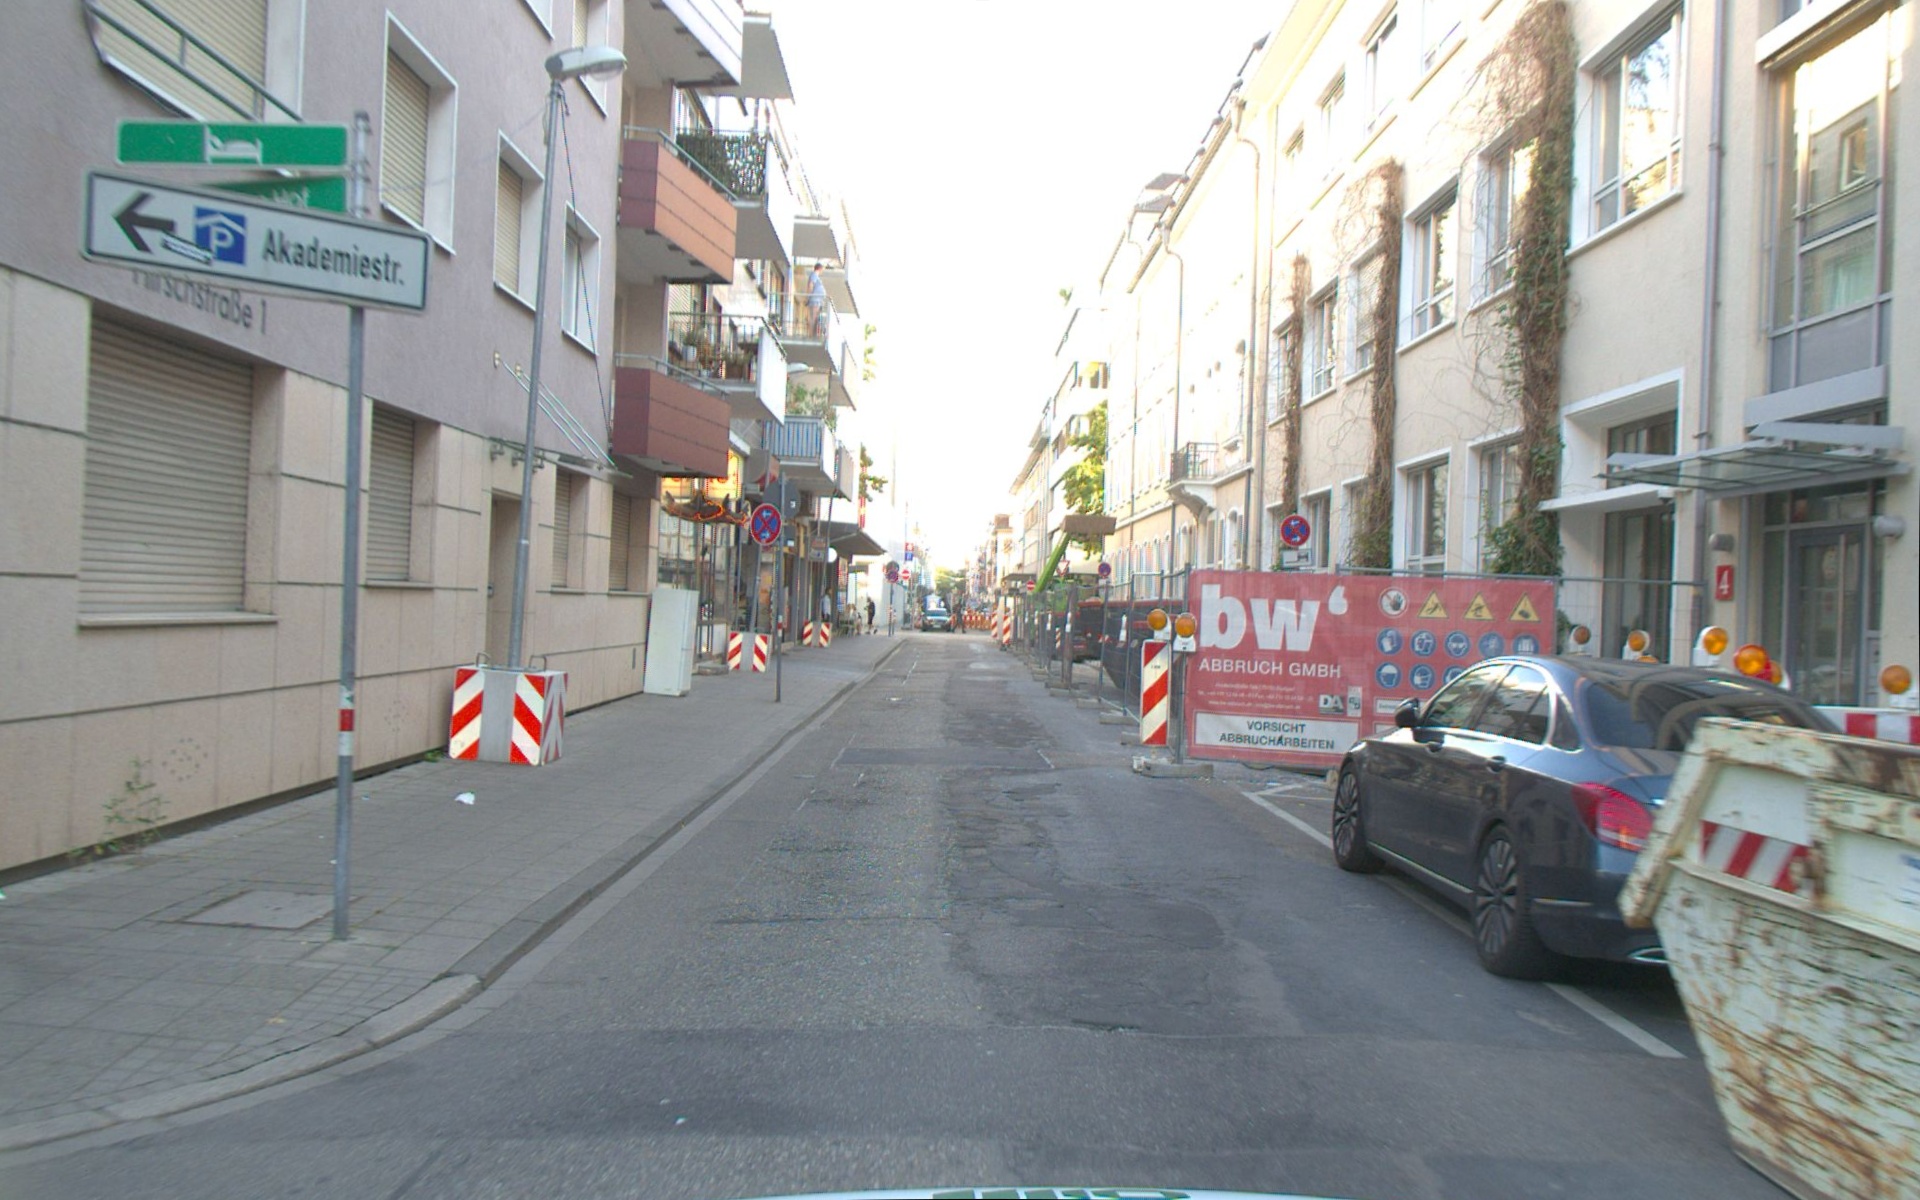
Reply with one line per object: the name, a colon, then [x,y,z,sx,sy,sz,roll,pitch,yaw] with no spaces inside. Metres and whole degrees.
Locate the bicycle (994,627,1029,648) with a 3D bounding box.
bicycle: [2.797,2.046,89.919,1.853,1.056,0.409,2,-1,-4]

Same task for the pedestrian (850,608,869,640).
pedestrian: [-4.231,0.999,69.647,0.688,1.298,0.713,3,0,0]

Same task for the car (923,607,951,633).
car: [-1.465,1.258,103.847,1.597,1.578,3.140,1,0,-4]

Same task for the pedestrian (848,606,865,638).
pedestrian: [-4.308,0.927,68.798,0.561,1.298,0.713,3,0,0]

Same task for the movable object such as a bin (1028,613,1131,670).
movable object such as a bin: [3.911,1.349,55.716,2.681,1.667,7.550,2,0,-1]

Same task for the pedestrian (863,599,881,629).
pedestrian: [-3.941,0.636,74.116,0.697,1.298,0.704,2,-1,0]

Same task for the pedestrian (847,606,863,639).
pedestrian: [-4.313,0.910,67.975,0.561,1.298,0.713,3,0,0]

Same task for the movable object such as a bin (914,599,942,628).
movable object such as a bin: [-2.280,0.975,118.969,1.953,2.049,4.000,1,0,0]

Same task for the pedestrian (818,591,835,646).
pedestrian: [-4.606,0.635,57.059,0.520,1.866,0.562,1,0,-7]

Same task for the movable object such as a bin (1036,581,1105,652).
movable object such as a bin: [4.649,0.679,70.230,2.551,2.889,4.449,1,0,0]

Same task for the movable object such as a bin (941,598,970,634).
movable object such as a bin: [-0.362,1.248,129.225,2.113,2.710,4.571,2,-1,-1]

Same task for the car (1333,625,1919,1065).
car: [3.308,0.954,8.292,1.751,1.497,4.445,4,0,-1]
